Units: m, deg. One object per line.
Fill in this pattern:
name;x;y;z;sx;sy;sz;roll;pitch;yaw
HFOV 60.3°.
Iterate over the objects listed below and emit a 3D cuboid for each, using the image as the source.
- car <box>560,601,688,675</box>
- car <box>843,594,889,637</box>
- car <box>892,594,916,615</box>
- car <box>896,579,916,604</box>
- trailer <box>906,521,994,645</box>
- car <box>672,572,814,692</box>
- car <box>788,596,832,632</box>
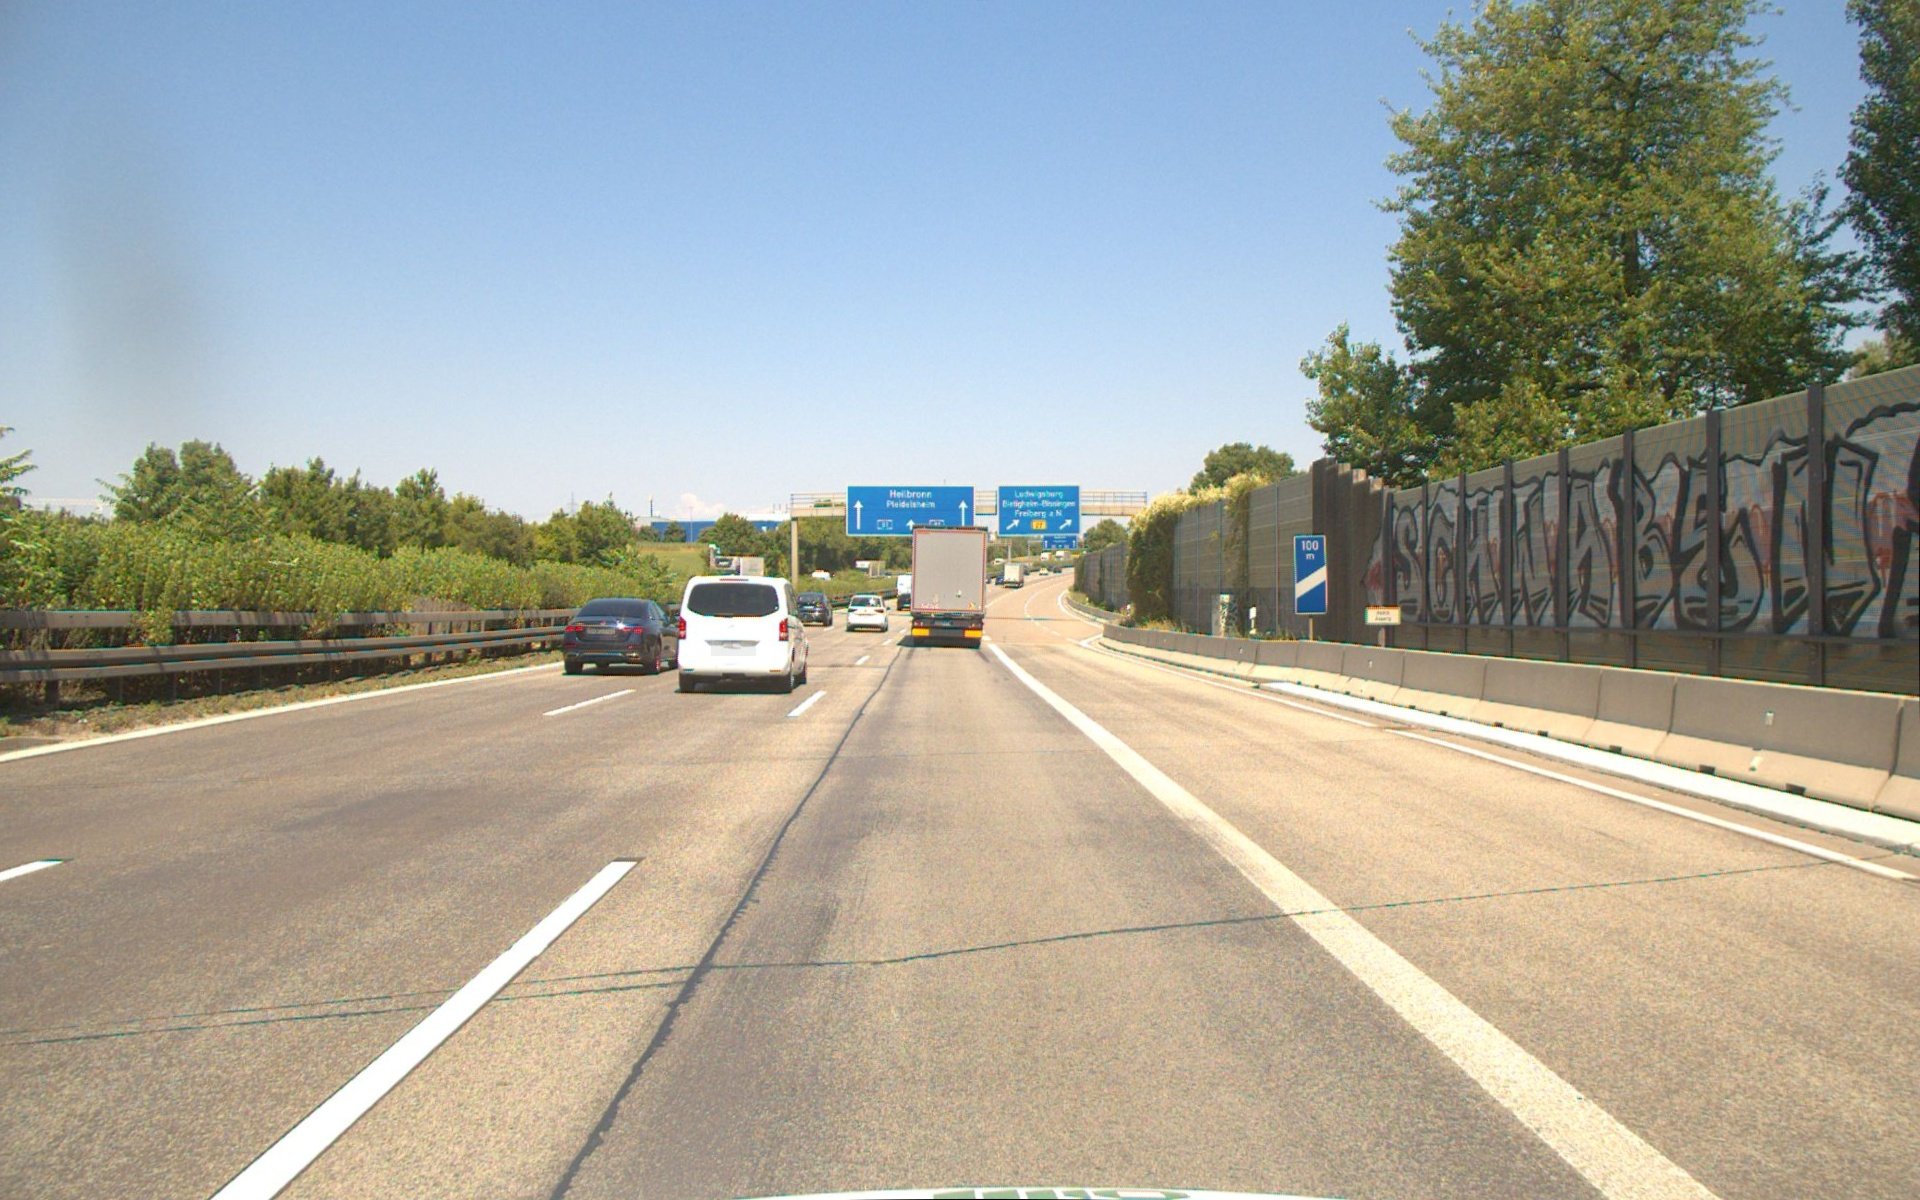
car;-6.914;0.743;34.517;1.721;1.433;5.038;0;0;-1
car;-4.245;0.674;75.173;1.866;1.884;4.630;0;0;-1
car;-4.591;0.364;136.702;1.866;1.719;4.630;0;0;-1
car;-5.533;-0.892;169.808;1.953;2.416;3.999;1;-1;-1
trailer;-0.397;-0.528;60.571;2.868;4.086;12.036;0;0;-1
car;-3.628;0.515;28.474;1.891;1.884;4.691;0;0;-1
car;-7.472;0.678;82.837;1.866;1.719;4.630;0;0;-1
